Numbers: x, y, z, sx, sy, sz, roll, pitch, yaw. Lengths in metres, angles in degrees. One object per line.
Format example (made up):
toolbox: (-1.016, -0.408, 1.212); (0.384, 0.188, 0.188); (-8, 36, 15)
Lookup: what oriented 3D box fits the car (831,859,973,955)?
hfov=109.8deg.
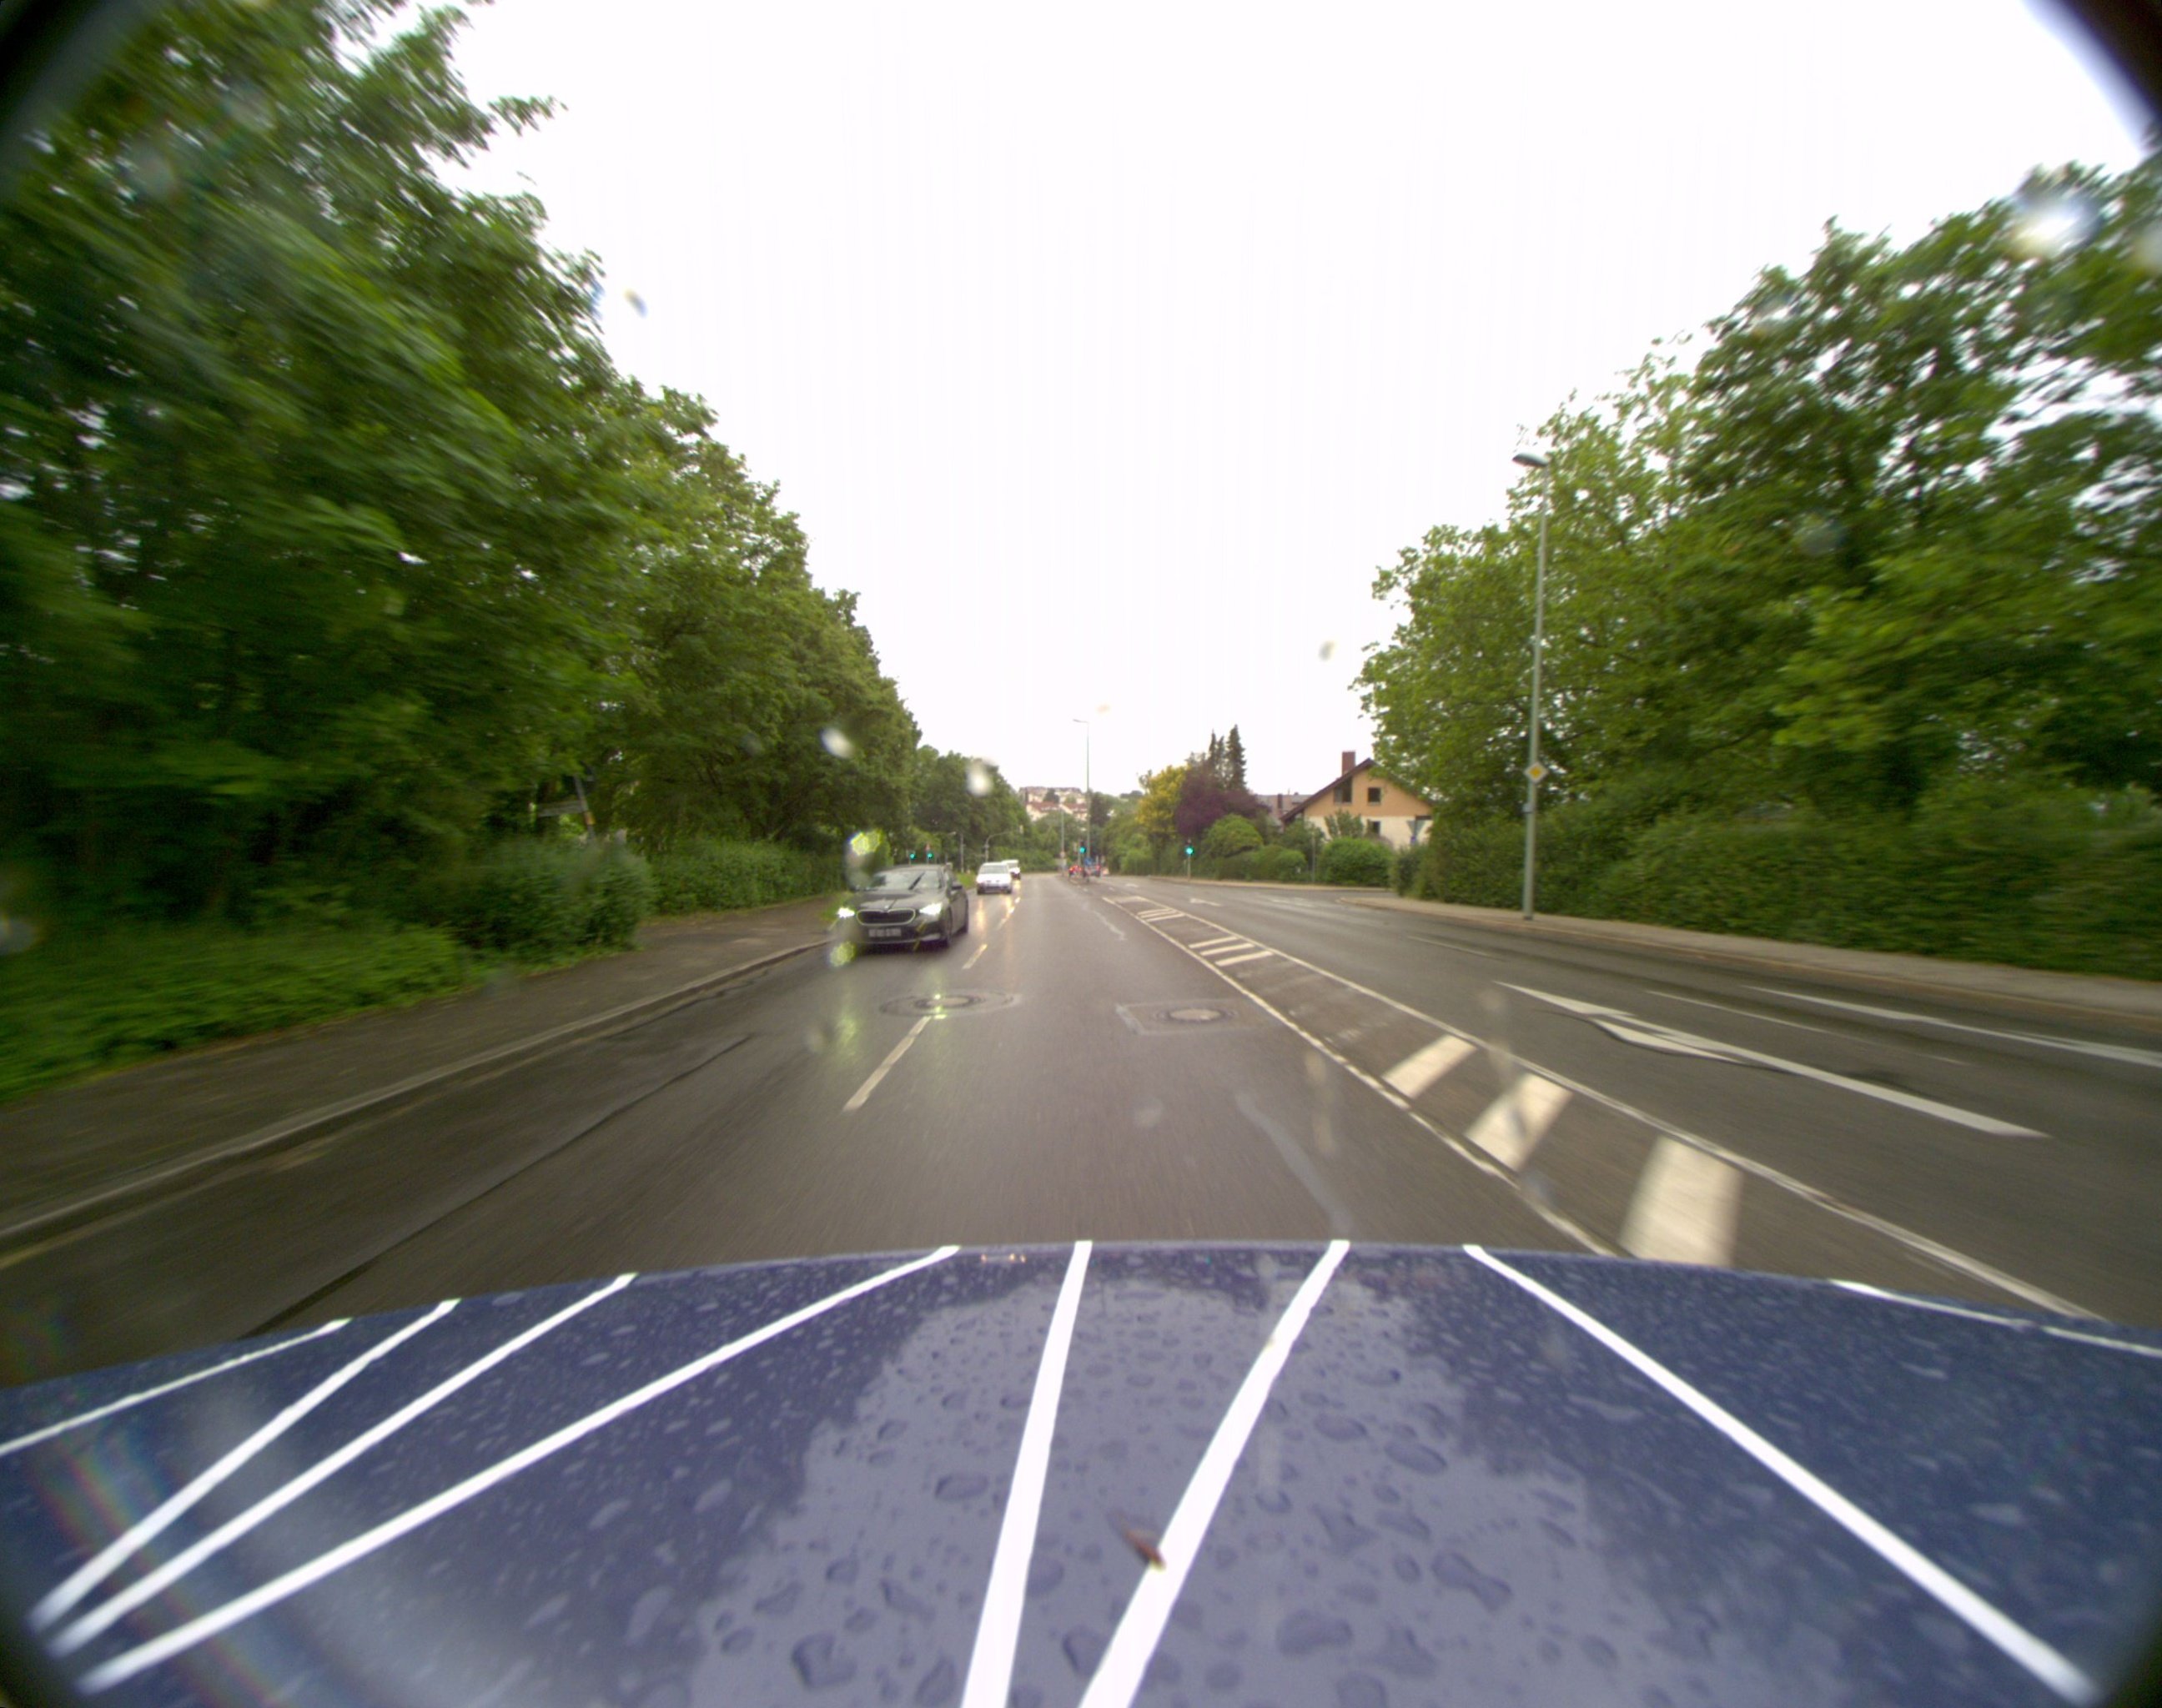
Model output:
car: (-3.229, 0.886, 14.536); (1.868, 1.546, 4.118); (0, 0, -2)

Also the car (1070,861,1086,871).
car: (-0.459, 1.762, 112.893); (2.031, 1.554, 3.876); (1, 0, -3)

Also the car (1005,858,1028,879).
car: (-5.847, 1.283, 69.285); (1.815, 1.797, 4.119); (0, 0, -2)

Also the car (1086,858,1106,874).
car: (1.563, 1.247, 80.886); (1.800, 1.593, 3.730); (1, 0, -4)

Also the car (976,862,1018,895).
car: (-4.184, 1.169, 38.226); (1.815, 1.546, 4.119); (0, 0, -2)
